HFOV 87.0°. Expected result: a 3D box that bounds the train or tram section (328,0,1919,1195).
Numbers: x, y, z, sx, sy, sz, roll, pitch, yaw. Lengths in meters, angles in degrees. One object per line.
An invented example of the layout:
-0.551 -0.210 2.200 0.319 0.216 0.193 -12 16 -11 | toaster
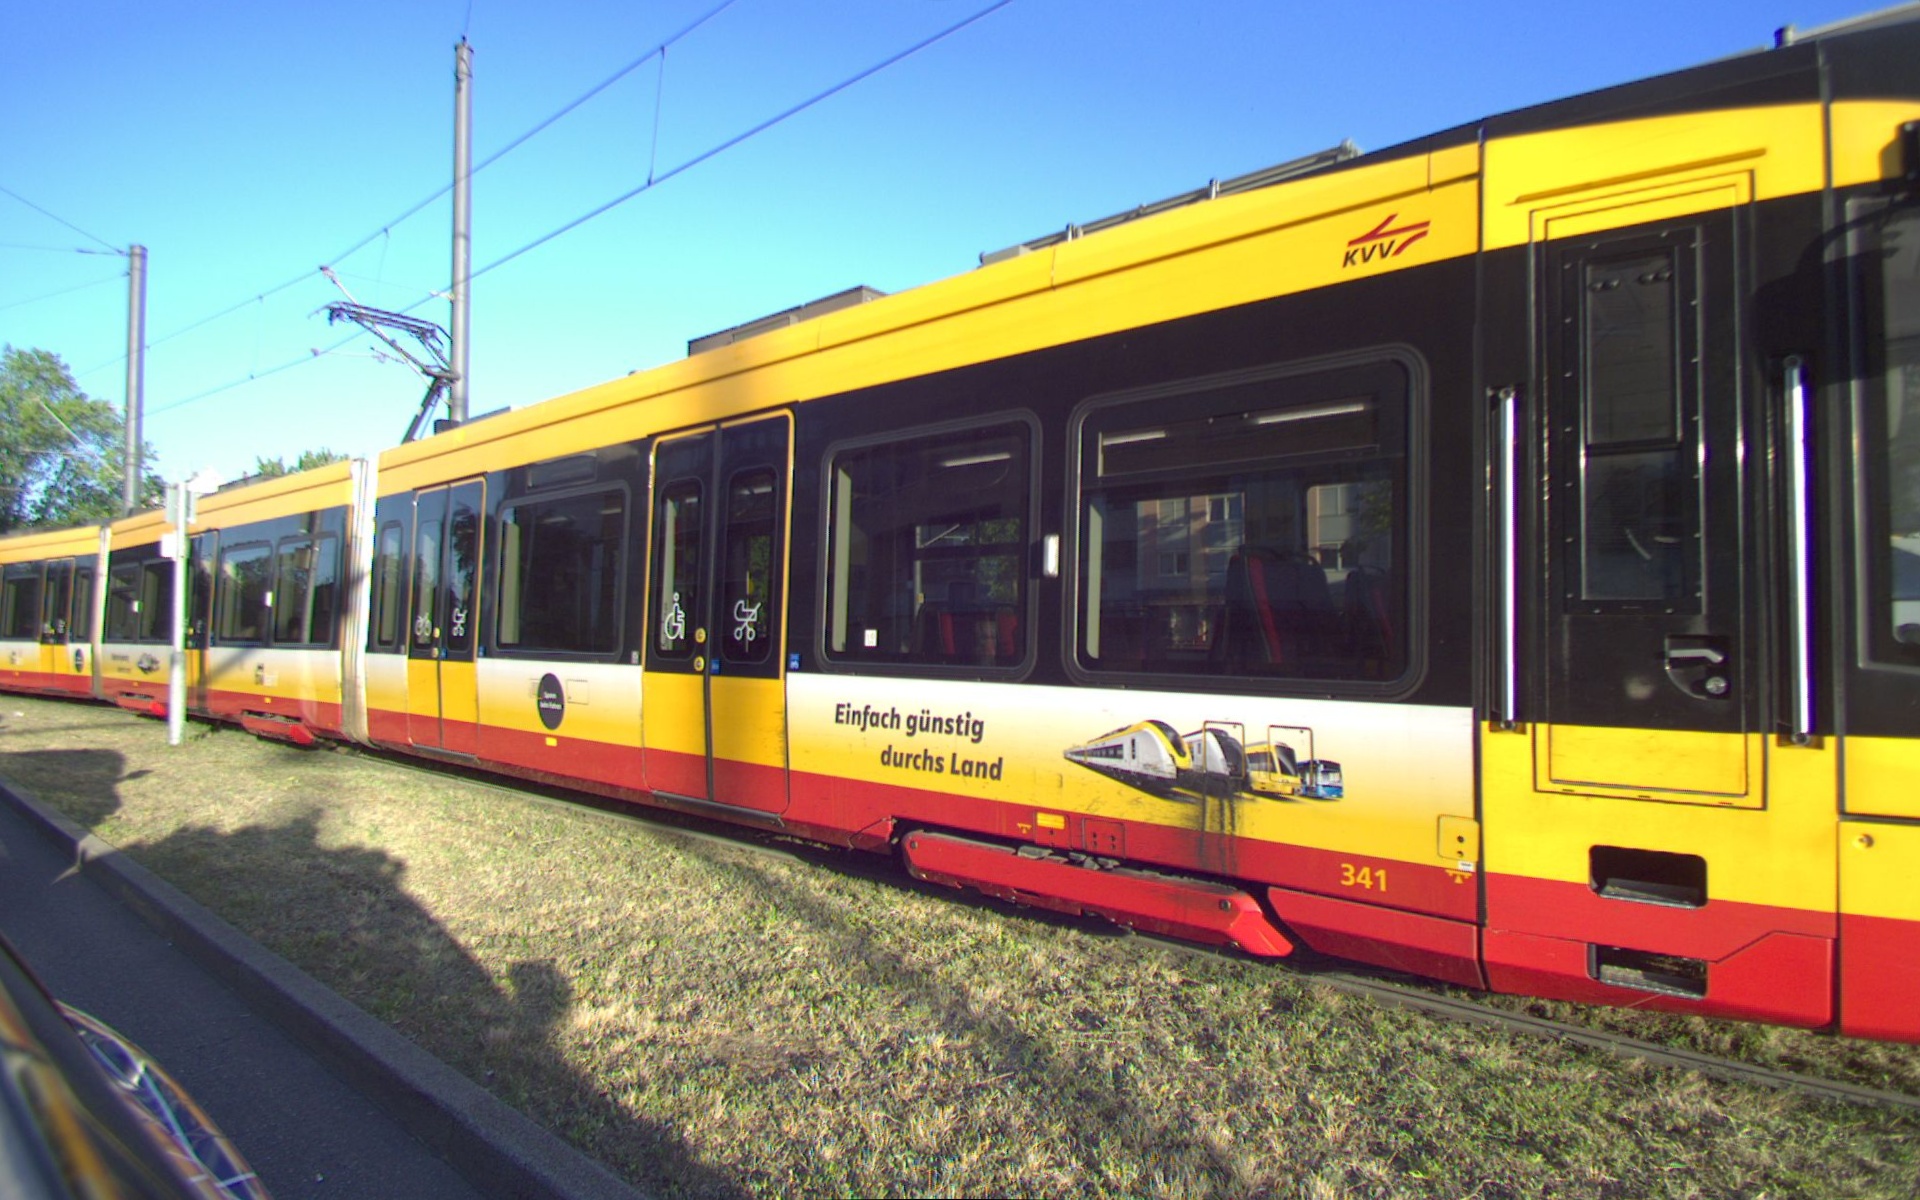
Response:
-0.403 -0.271 6.934 13.210 3.767 2.878 -1 -2 41 | train or tram section

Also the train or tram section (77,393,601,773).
-9.916 -0.039 15.016 12.172 3.767 2.848 -1 -2 40 | train or tram section

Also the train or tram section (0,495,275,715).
-19.315 0.208 21.781 12.150 3.767 2.883 -1 -2 32 | train or tram section
